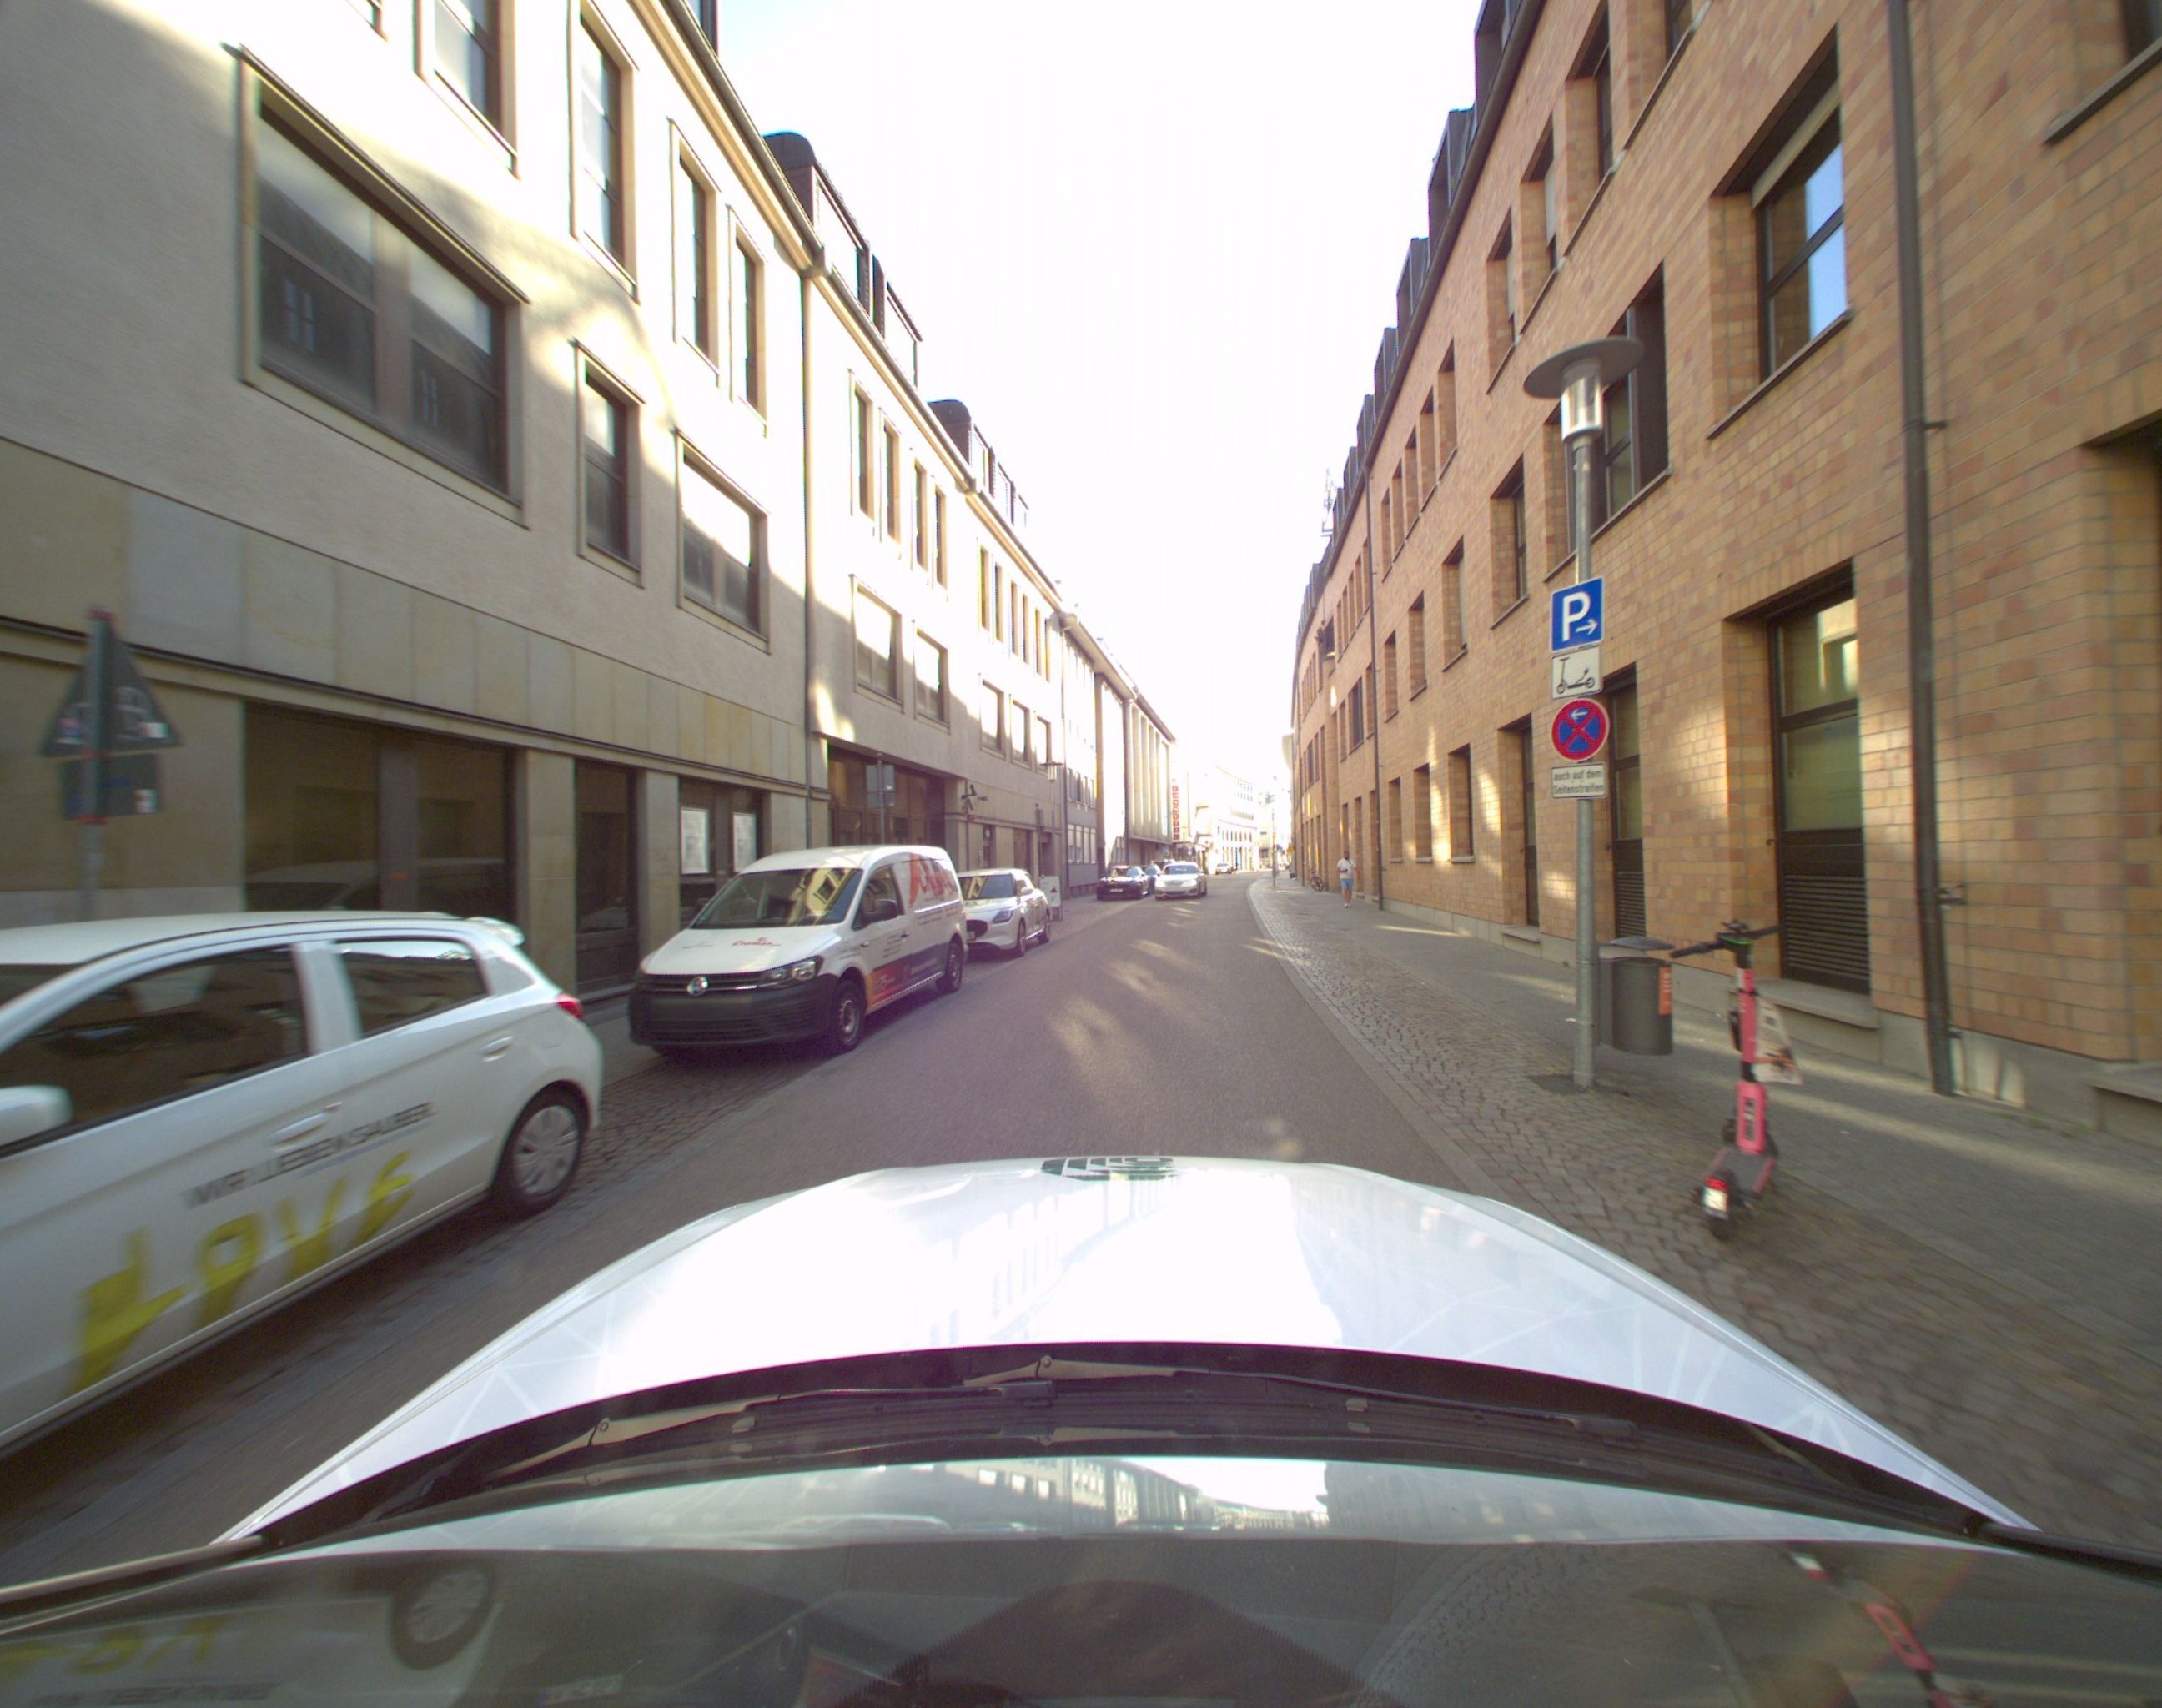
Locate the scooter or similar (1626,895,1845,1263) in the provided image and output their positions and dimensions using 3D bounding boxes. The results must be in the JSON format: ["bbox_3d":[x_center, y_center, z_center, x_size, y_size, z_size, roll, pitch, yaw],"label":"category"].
[{"bbox_3d":[2.918,0.834,3.584,1.427,1.236,0.532,0,-1,-43],"label":"scooter or similar"}]

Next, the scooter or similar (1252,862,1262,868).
[{"bbox_3d":[29.943,1.832,138.755,0.520,0.928,2.241,-2,-1,43],"label":"scooter or similar"}]

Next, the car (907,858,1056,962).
[{"bbox_3d":[-1.633,0.914,14.681,1.660,1.522,3.783,-4,-1,7],"label":"car"}]

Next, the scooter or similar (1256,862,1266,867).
[{"bbox_3d":[31.634,1.858,143.092,0.520,0.928,2.241,-2,-1,43],"label":"scooter or similar"}]

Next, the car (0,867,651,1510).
[{"bbox_3d":[-3.380,0.842,2.674,1.730,1.492,3.801,-3,-1,2],"label":"car"}]

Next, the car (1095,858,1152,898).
[{"bbox_3d":[1.922,1.012,35.403,1.878,1.530,4.741,-2,-1,10],"label":"car"}]

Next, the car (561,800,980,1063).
[{"bbox_3d":[-2.636,0.618,8.400,1.889,1.858,4.744,-4,-1,8],"label":"car"}]

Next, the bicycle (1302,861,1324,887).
[{"bbox_3d":[10.162,0.864,35.686,0.546,1.103,1.986,-5,-1,8],"label":"bicycle"}]

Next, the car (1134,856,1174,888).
[{"bbox_3d":[4.293,1.016,47.123,1.878,1.676,4.566,-2,-1,10],"label":"car"}]

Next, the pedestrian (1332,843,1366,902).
[{"bbox_3d":[8.127,0.558,24.719,0.756,1.716,0.823,-4,-2,9],"label":"pedestrian"}]

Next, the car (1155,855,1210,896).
[{"bbox_3d":[4.153,0.837,32.844,1.702,1.518,4.175,-3,-1,13],"label":"car"}]

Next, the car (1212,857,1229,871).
[{"bbox_3d":[17.055,1.222,99.191,1.724,1.606,3.546,-1,-1,14],"label":"car"}]

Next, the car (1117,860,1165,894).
[{"bbox_3d":[3.063,1.122,40.611,1.878,1.530,4.351,-2,-1,10],"label":"car"}]

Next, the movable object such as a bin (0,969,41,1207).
[{"bbox_3d":[-5.474,1.107,3.691,0.733,1.101,0.591,0,-2,4],"label":"movable object such as a bin"}]
